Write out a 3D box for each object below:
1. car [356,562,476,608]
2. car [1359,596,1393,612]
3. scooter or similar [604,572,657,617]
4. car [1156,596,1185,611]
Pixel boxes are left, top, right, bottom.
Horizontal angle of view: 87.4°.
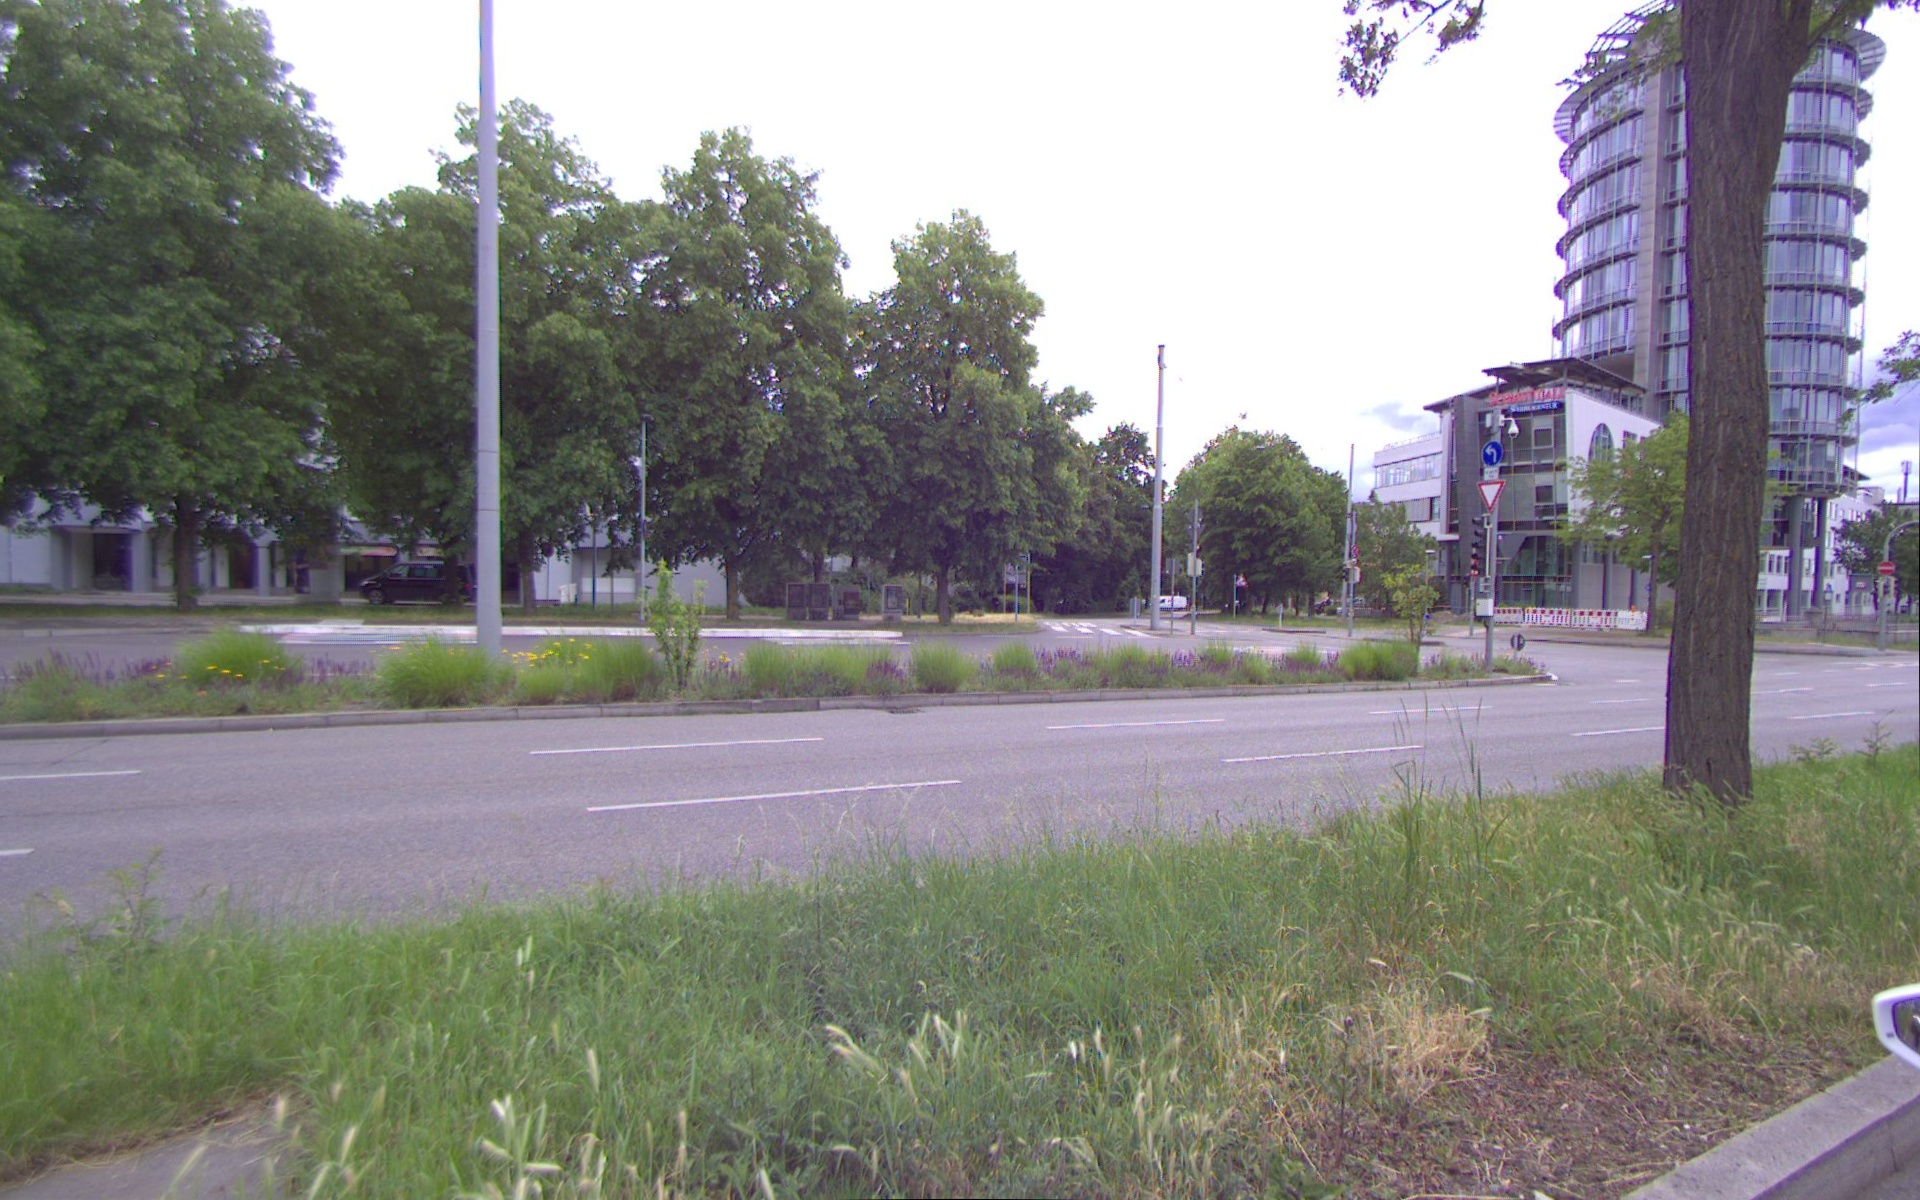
[{"bbox_3d":[-24.015,-0.652,44.481,4.345,1.872,1.781,1,1,-16],"label":"car"},{"bbox_3d":[24.358,0.253,58.872,1.684,0.888,0.776,1,0,7],"label":"car"},{"bbox_3d":[-12.575,-0.194,38.370,1.835,1.686,0.645,1,1,-43],"label":"scooter or similar"},{"bbox_3d":[36.654,0.584,174.998,4.475,2.370,1.994,2,0,-15],"label":"car"}]
